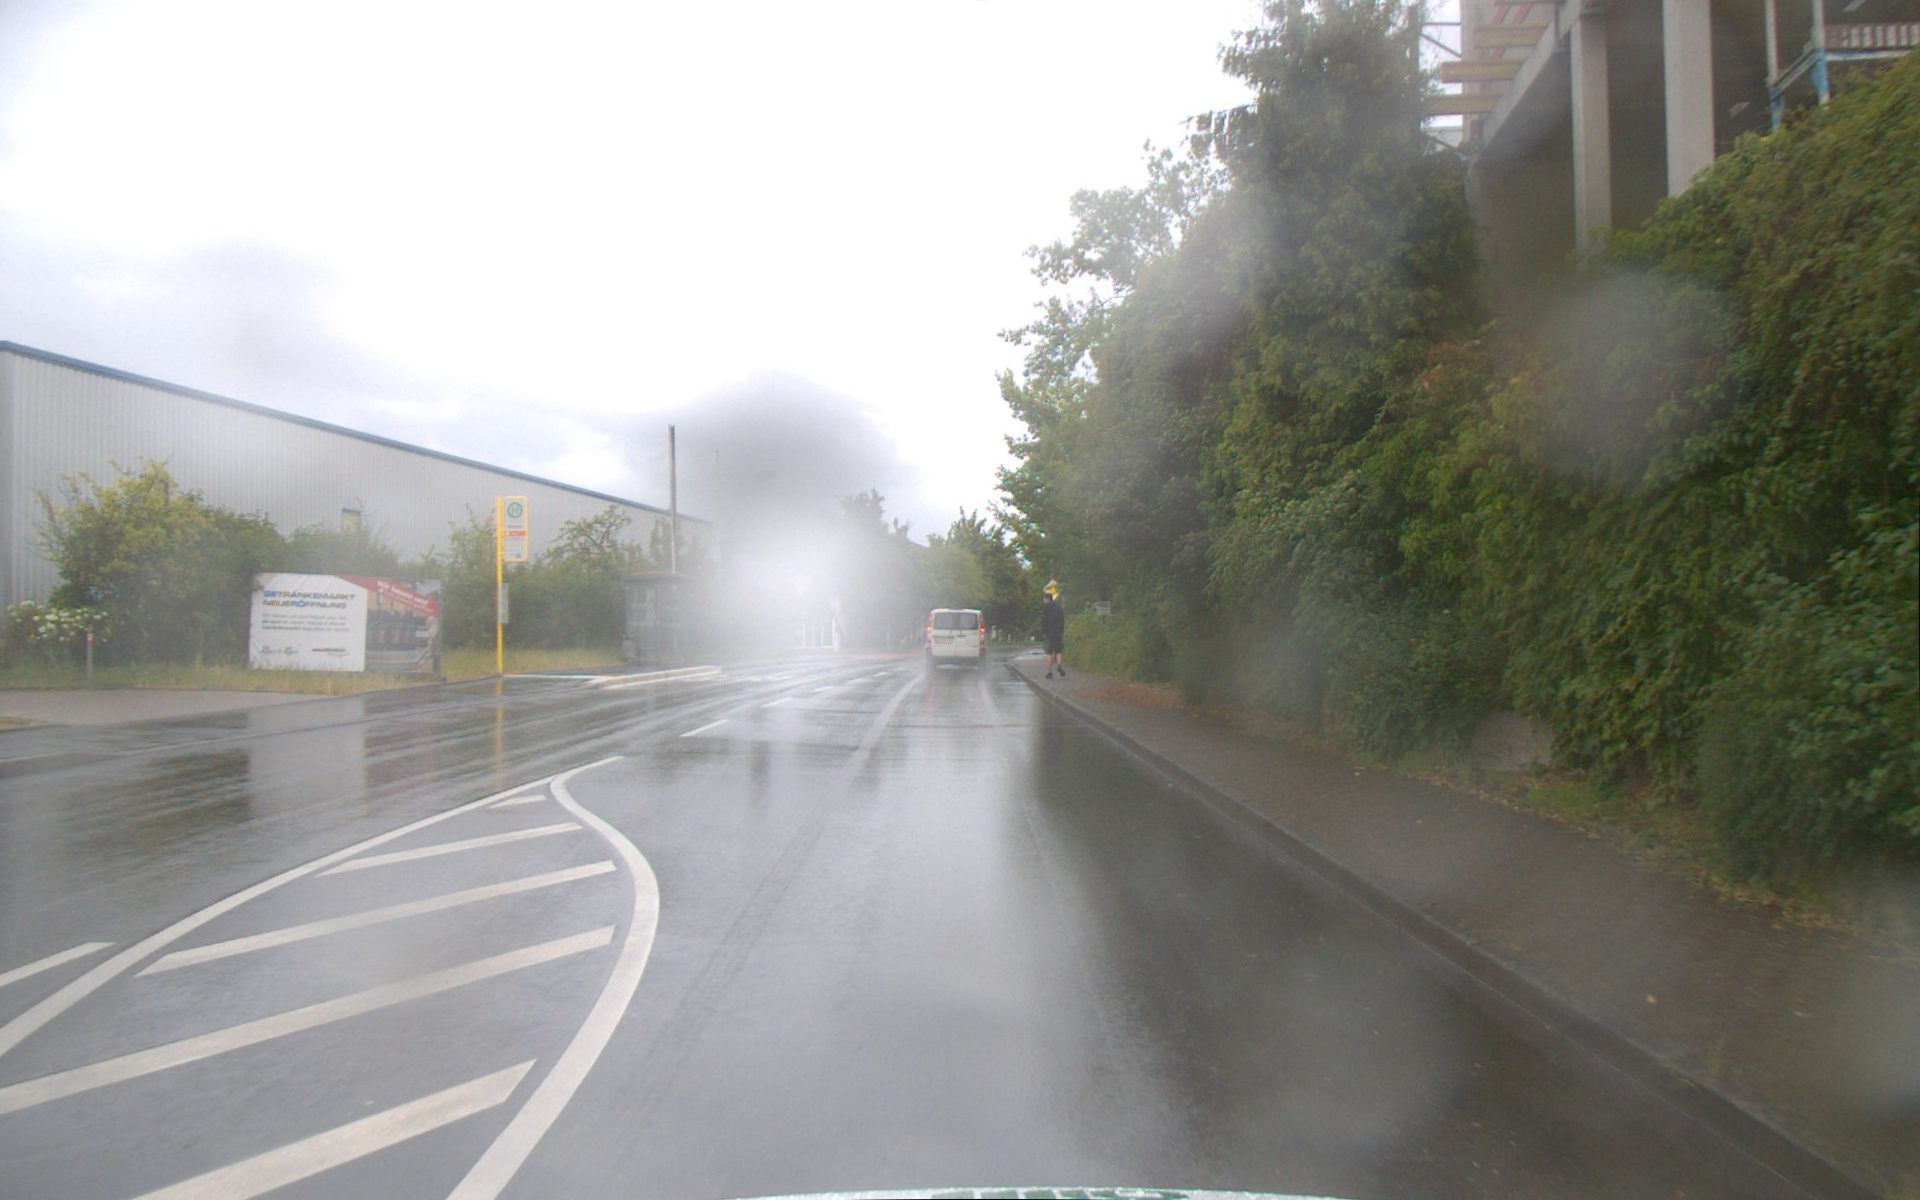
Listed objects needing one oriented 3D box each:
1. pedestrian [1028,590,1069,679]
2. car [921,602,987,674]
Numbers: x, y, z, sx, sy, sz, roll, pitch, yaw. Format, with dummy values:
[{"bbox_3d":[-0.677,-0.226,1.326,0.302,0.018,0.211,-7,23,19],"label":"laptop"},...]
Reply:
[{"bbox_3d":[1.996,0.779,37.294,0.761,1.940,0.728,-4,-2,-1],"label":"pedestrian"},{"bbox_3d":[-0.154,1.148,51.910,1.860,2.053,5.372,-3,0,0],"label":"car"}]
